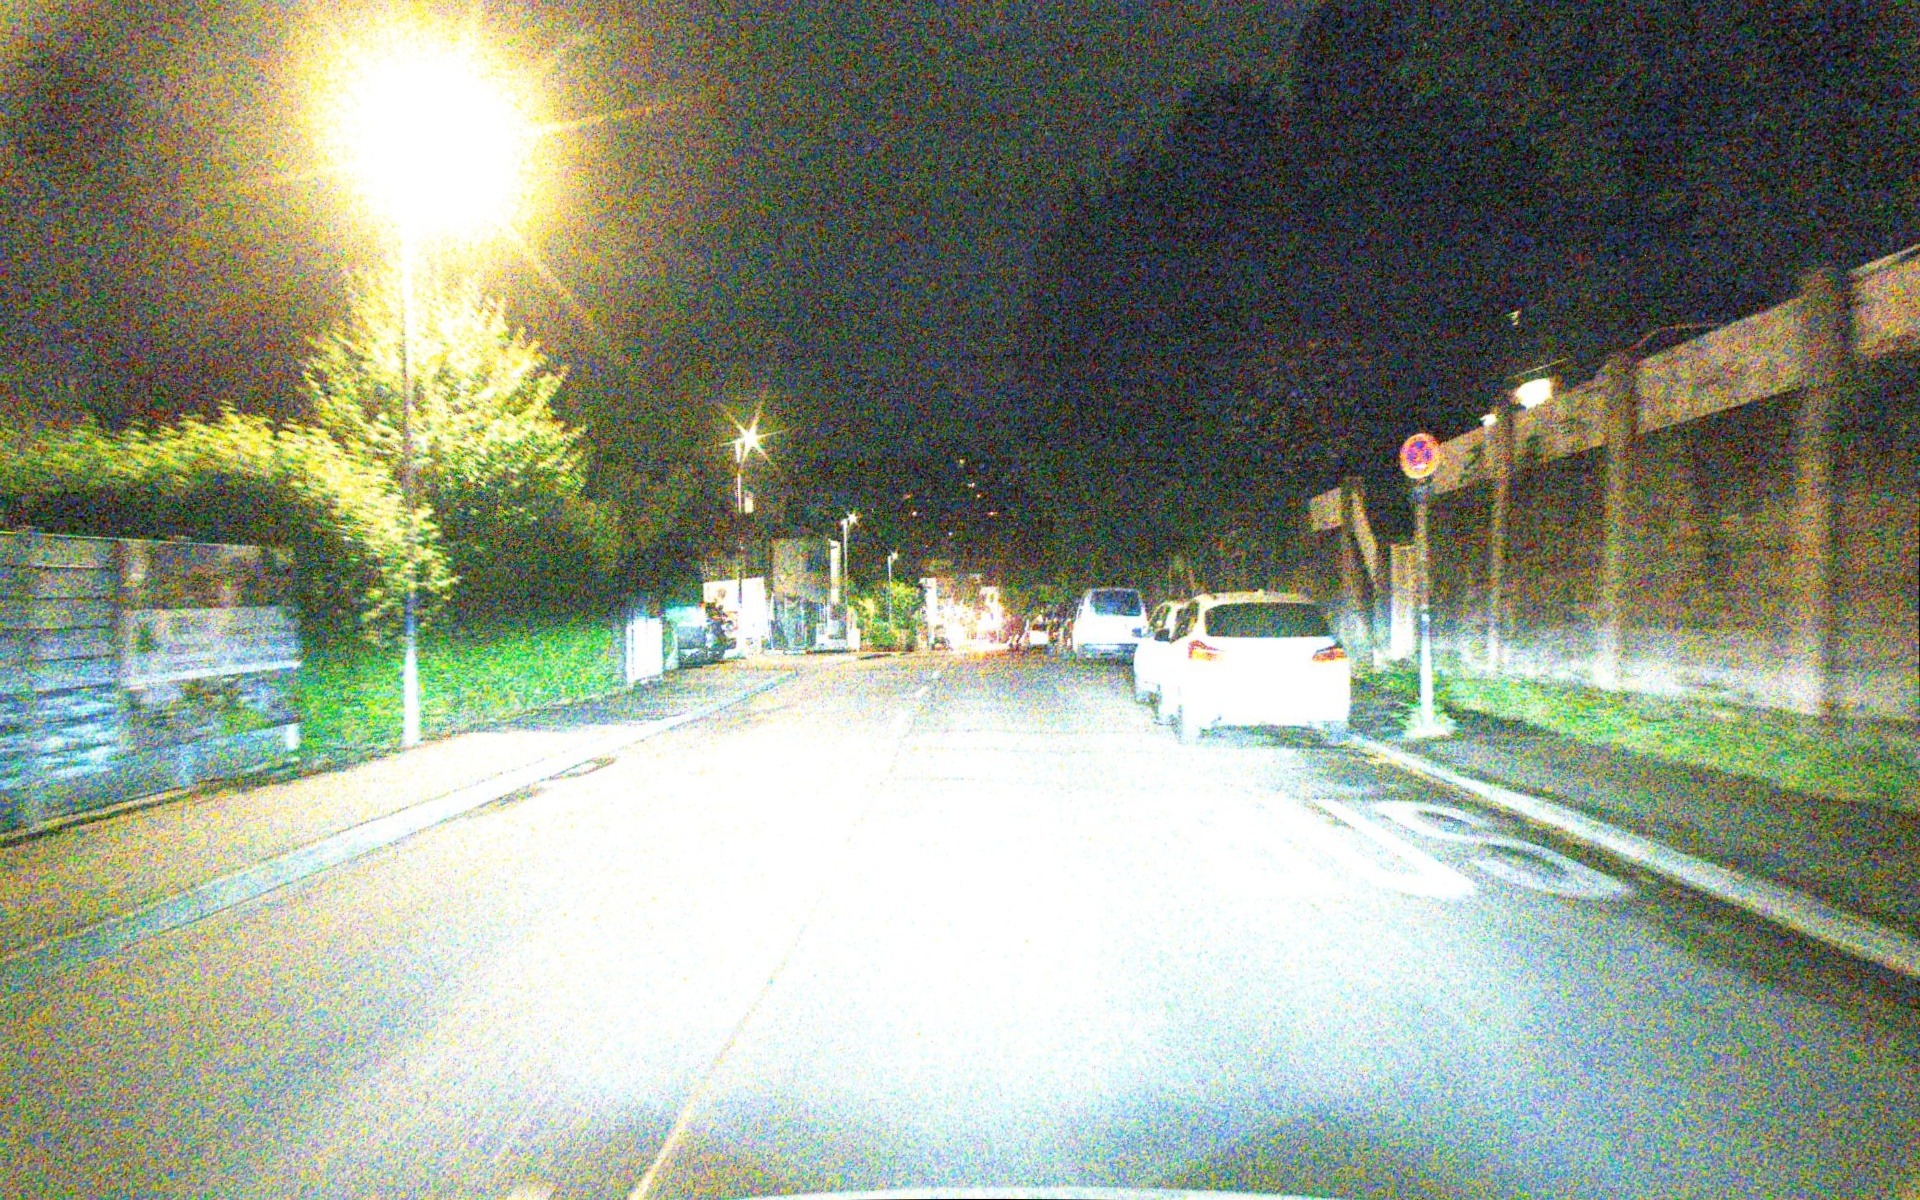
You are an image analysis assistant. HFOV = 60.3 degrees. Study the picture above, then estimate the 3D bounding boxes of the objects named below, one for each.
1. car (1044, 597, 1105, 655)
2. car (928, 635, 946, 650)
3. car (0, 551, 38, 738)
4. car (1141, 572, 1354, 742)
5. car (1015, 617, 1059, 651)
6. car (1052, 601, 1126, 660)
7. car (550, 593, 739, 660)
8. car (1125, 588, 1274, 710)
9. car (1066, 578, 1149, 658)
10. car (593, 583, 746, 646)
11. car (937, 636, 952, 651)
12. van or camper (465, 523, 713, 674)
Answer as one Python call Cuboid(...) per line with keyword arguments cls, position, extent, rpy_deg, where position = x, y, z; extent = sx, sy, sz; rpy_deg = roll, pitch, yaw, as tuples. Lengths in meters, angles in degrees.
Cuboid(cls="car", position=(3.540, 0.855, 51.628), extent=(1.794, 1.693, 4.620), rpy_deg=(1, -2, 3))
Cuboid(cls="car", position=(-2.353, 4.387, 171.096), extent=(1.718, 1.567, 3.728), rpy_deg=(1, -2, -2))
Cuboid(cls="car", position=(-8.341, 0.331, 11.374), extent=(1.936, 1.464, 3.997), rpy_deg=(2, 0, -4))
Cuboid(cls="car", position=(3.100, 0.563, 18.730), extent=(1.718, 1.621, 4.729), rpy_deg=(2, 0, 2))
Cuboid(cls="car", position=(3.759, 1.681, 81.239), extent=(1.728, 1.501, 4.273), rpy_deg=(3, -2, -3))
Cuboid(cls="car", position=(3.552, 0.843, 46.002), extent=(1.708, 1.496, 4.256), rpy_deg=(3, -1, 1))
Cuboid(cls="car", position=(-7.928, 0.679, 41.811), extent=(4.325, 1.642, 2.065), rpy_deg=(0, -2, 2))
Cuboid(cls="car", position=(3.280, 0.618, 23.237), extent=(1.575, 1.487, 3.717), rpy_deg=(-1, 1, 1))
Cuboid(cls="car", position=(3.558, 0.443, 40.514), extent=(1.683, 1.792, 4.758), rpy_deg=(2, -1, 2))
Cuboid(cls="car", position=(-7.803, 0.375, 44.648), extent=(3.732, 1.582, 1.927), rpy_deg=(1, 0, 0))
Cuboid(cls="car", position=(-1.742, 4.964, 188.202), extent=(1.717, 1.567, 3.730), rpy_deg=(1, -2, 0))
Cuboid(cls="van or camper", position=(-8.437, -0.051, 38.080), extent=(5.299, 3.165, 2.128), rpy_deg=(-2, 0, -9))
